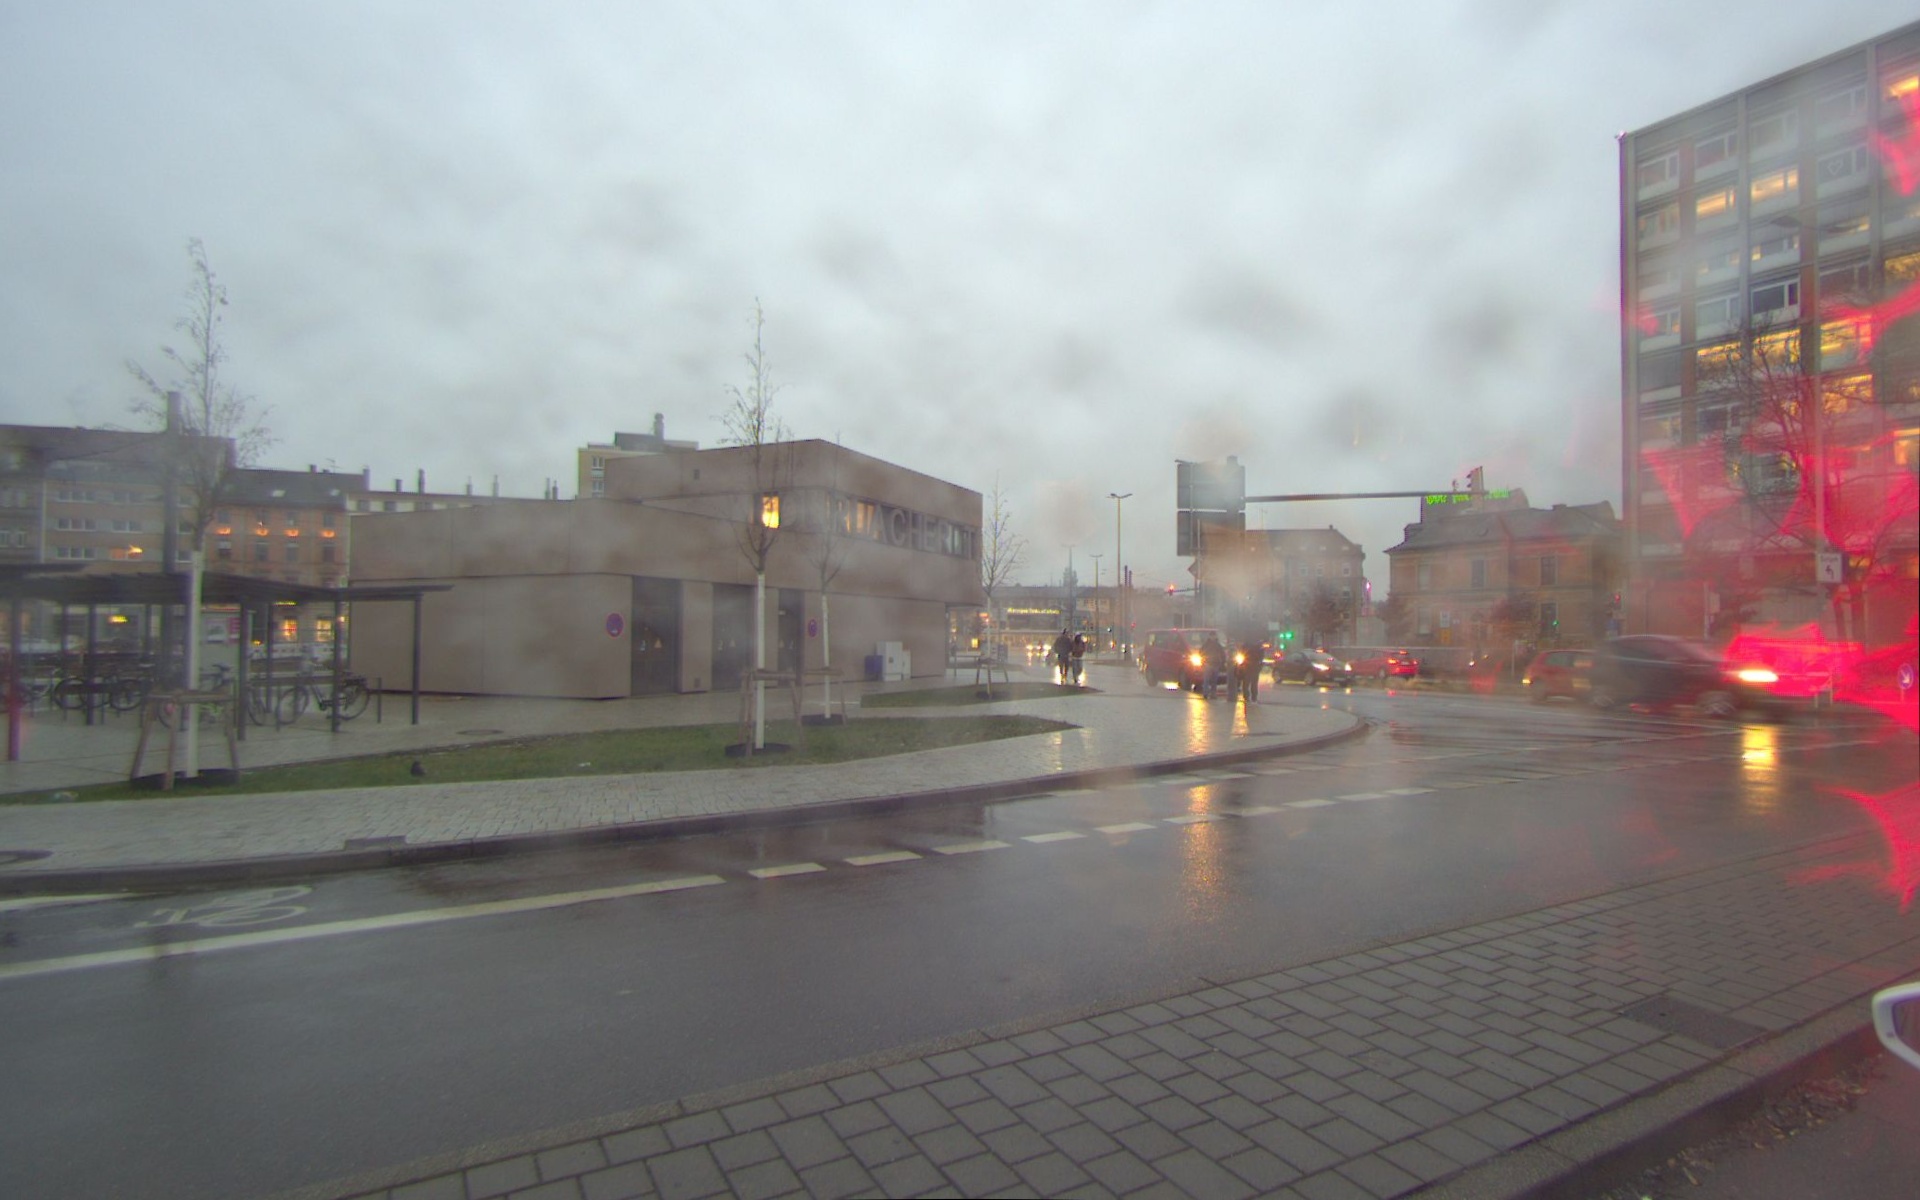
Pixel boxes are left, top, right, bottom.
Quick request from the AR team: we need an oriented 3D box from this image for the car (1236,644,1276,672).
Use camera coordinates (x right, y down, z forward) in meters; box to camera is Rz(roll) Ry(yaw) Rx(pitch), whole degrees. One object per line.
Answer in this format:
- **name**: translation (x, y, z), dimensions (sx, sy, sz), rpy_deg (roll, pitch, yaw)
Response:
- **car**: translation (19.165, 3.718, 65.165), dimensions (1.536, 1.626, 3.413), rpy_deg (3, -1, 0)

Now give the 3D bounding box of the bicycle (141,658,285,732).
- **bicycle**: translation (-12.920, 1.618, 17.440), dimensions (0.541, 1.180, 1.895), rpy_deg (2, -2, 30)

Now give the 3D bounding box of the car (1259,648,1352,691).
- **car**: translation (13.867, 2.768, 40.512), dimensions (1.578, 1.468, 3.827), rpy_deg (3, -1, -16)

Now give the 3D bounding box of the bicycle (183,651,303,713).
- **bicycle**: translation (-14.679, 1.650, 20.622), dimensions (0.541, 1.180, 1.895), rpy_deg (2, -2, 30)

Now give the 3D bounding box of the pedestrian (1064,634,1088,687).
- **pedestrian**: translation (4.059, 2.119, 35.201), dimensions (0.576, 1.795, 0.610), rpy_deg (3, -1, -16)

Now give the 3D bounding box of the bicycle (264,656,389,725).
- **bicycle**: translation (-11.737, 1.644, 18.679), dimensions (0.540, 1.180, 1.897), rpy_deg (2, -2, 27)

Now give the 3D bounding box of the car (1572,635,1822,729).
- **car**: translation (15.622, 1.688, 21.565), dimensions (1.732, 1.706, 4.063), rpy_deg (3, -1, -18)

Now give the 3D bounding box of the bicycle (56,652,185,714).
- **bicycle**: translation (-16.972, 1.657, 20.362), dimensions (0.541, 1.180, 1.895), rpy_deg (2, -2, 30)

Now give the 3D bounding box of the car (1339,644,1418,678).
- **car**: translation (20.681, 2.996, 49.773), dimensions (1.540, 1.416, 3.788), rpy_deg (3, -1, -17)

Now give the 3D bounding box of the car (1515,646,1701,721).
- **car**: translation (17.317, 2.183, 27.078), dimensions (1.731, 1.706, 4.069), rpy_deg (3, -1, -16)

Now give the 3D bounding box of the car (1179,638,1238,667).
- **car**: translation (18.224, 3.823, 73.901), dimensions (1.966, 1.938, 5.157), rpy_deg (1, -1, -14)

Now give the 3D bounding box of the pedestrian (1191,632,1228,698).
- **pedestrian**: translation (6.670, 1.734, 26.846), dimensions (0.781, 1.719, 0.461), rpy_deg (3, -1, -7)

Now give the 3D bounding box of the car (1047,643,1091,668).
- **car**: translation (7.149, 3.647, 66.242), dimensions (1.578, 1.468, 3.637), rpy_deg (3, -1, -16)

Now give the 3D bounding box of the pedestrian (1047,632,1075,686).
- **pedestrian**: translation (3.503, 2.047, 34.843), dimensions (0.670, 1.839, 0.692), rpy_deg (3, -1, -16)

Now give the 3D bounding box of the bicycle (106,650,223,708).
- **bicycle**: translation (-17.325, 1.696, 21.936), dimensions (0.541, 1.180, 1.895), rpy_deg (2, -2, 30)

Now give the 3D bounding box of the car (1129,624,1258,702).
- **car**: translation (7.754, 2.043, 33.989), dimensions (2.220, 2.311, 5.025), rpy_deg (3, -1, -13)

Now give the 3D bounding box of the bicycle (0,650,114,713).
- **bicycle**: translation (-18.332, 1.614, 20.199), dimensions (0.541, 1.180, 1.895), rpy_deg (2, -2, 30)
